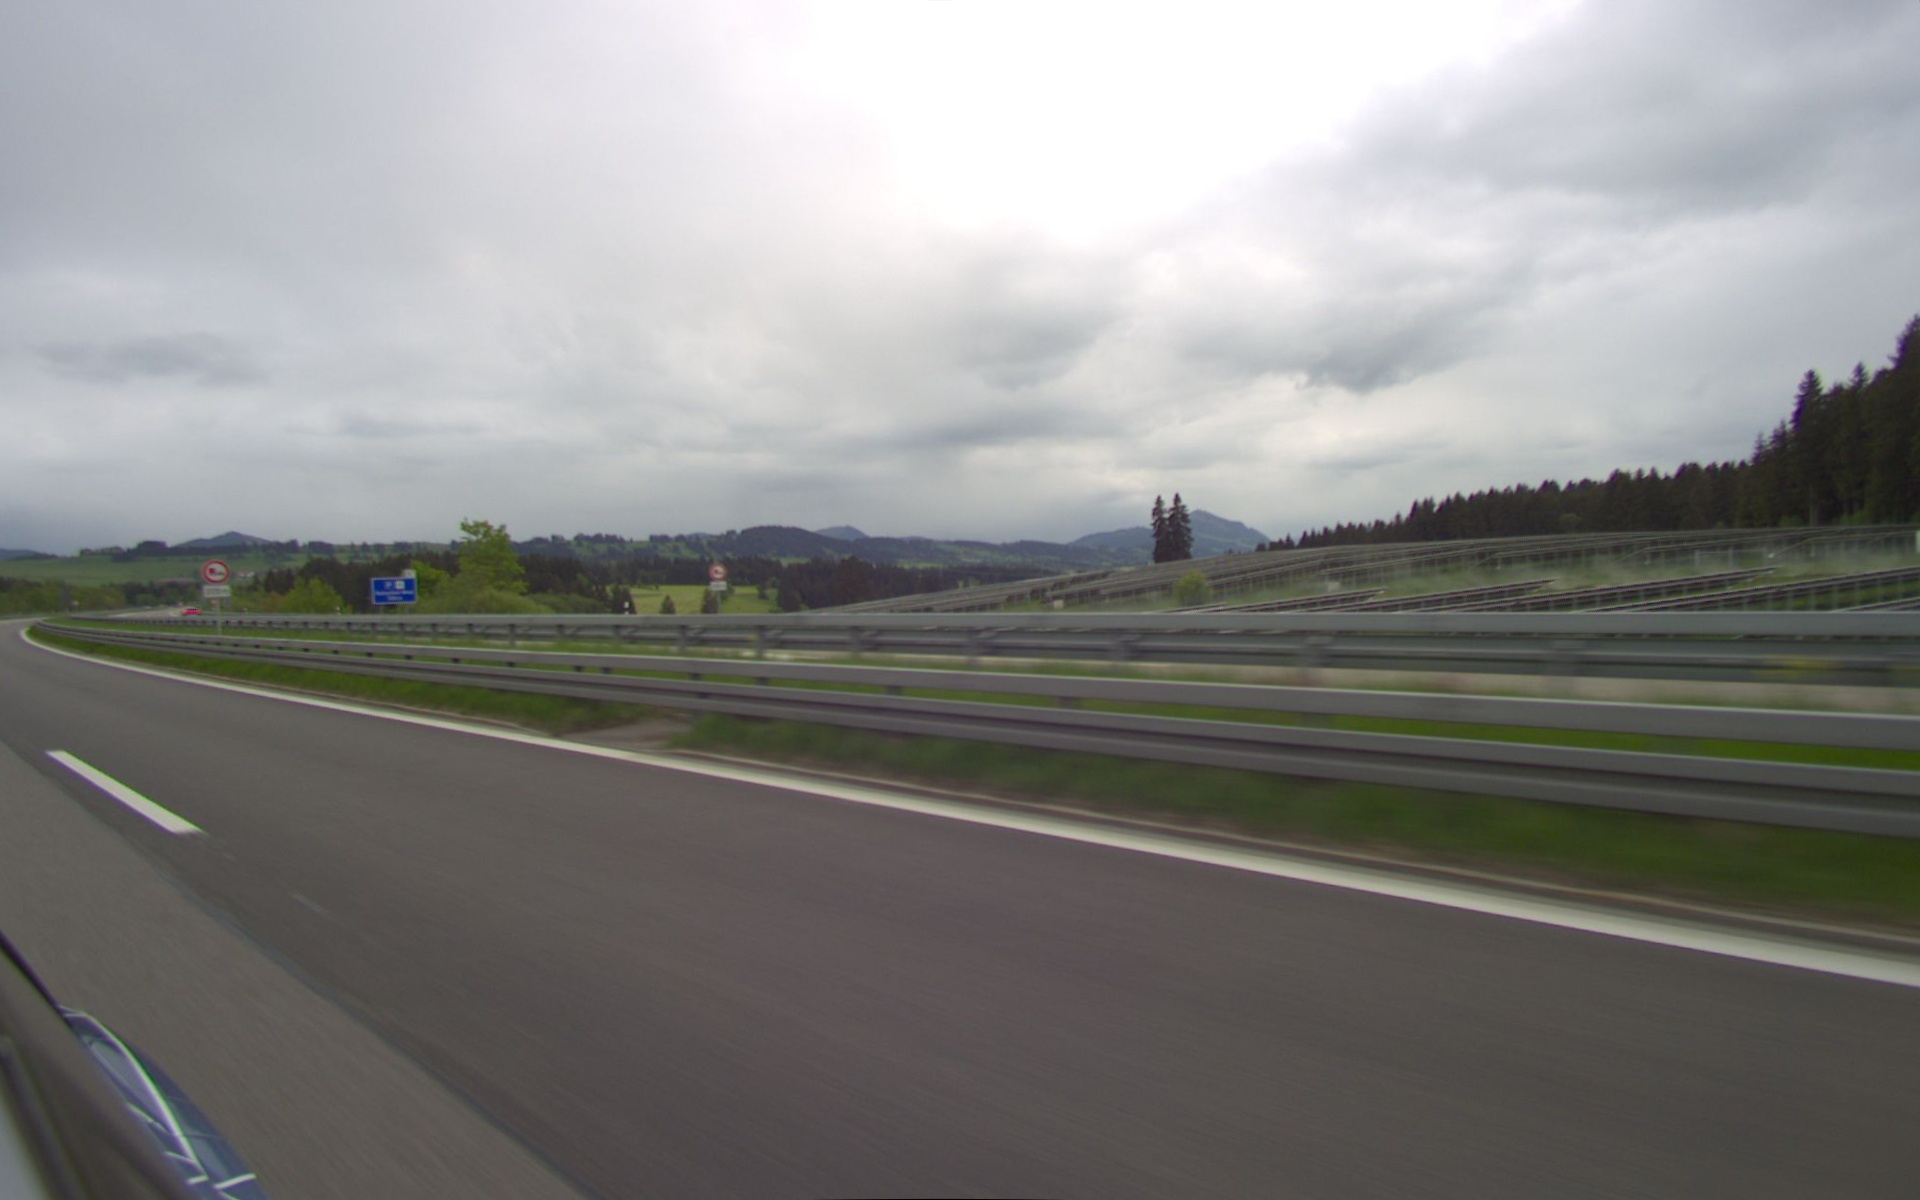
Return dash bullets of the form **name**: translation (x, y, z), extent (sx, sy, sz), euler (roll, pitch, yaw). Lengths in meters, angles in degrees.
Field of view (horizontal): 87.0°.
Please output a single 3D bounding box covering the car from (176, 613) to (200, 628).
- **car**: translation (-92.103, 2.435, 120.719), extent (1.969, 1.509, 4.157), euler (-5, 2, -41)
